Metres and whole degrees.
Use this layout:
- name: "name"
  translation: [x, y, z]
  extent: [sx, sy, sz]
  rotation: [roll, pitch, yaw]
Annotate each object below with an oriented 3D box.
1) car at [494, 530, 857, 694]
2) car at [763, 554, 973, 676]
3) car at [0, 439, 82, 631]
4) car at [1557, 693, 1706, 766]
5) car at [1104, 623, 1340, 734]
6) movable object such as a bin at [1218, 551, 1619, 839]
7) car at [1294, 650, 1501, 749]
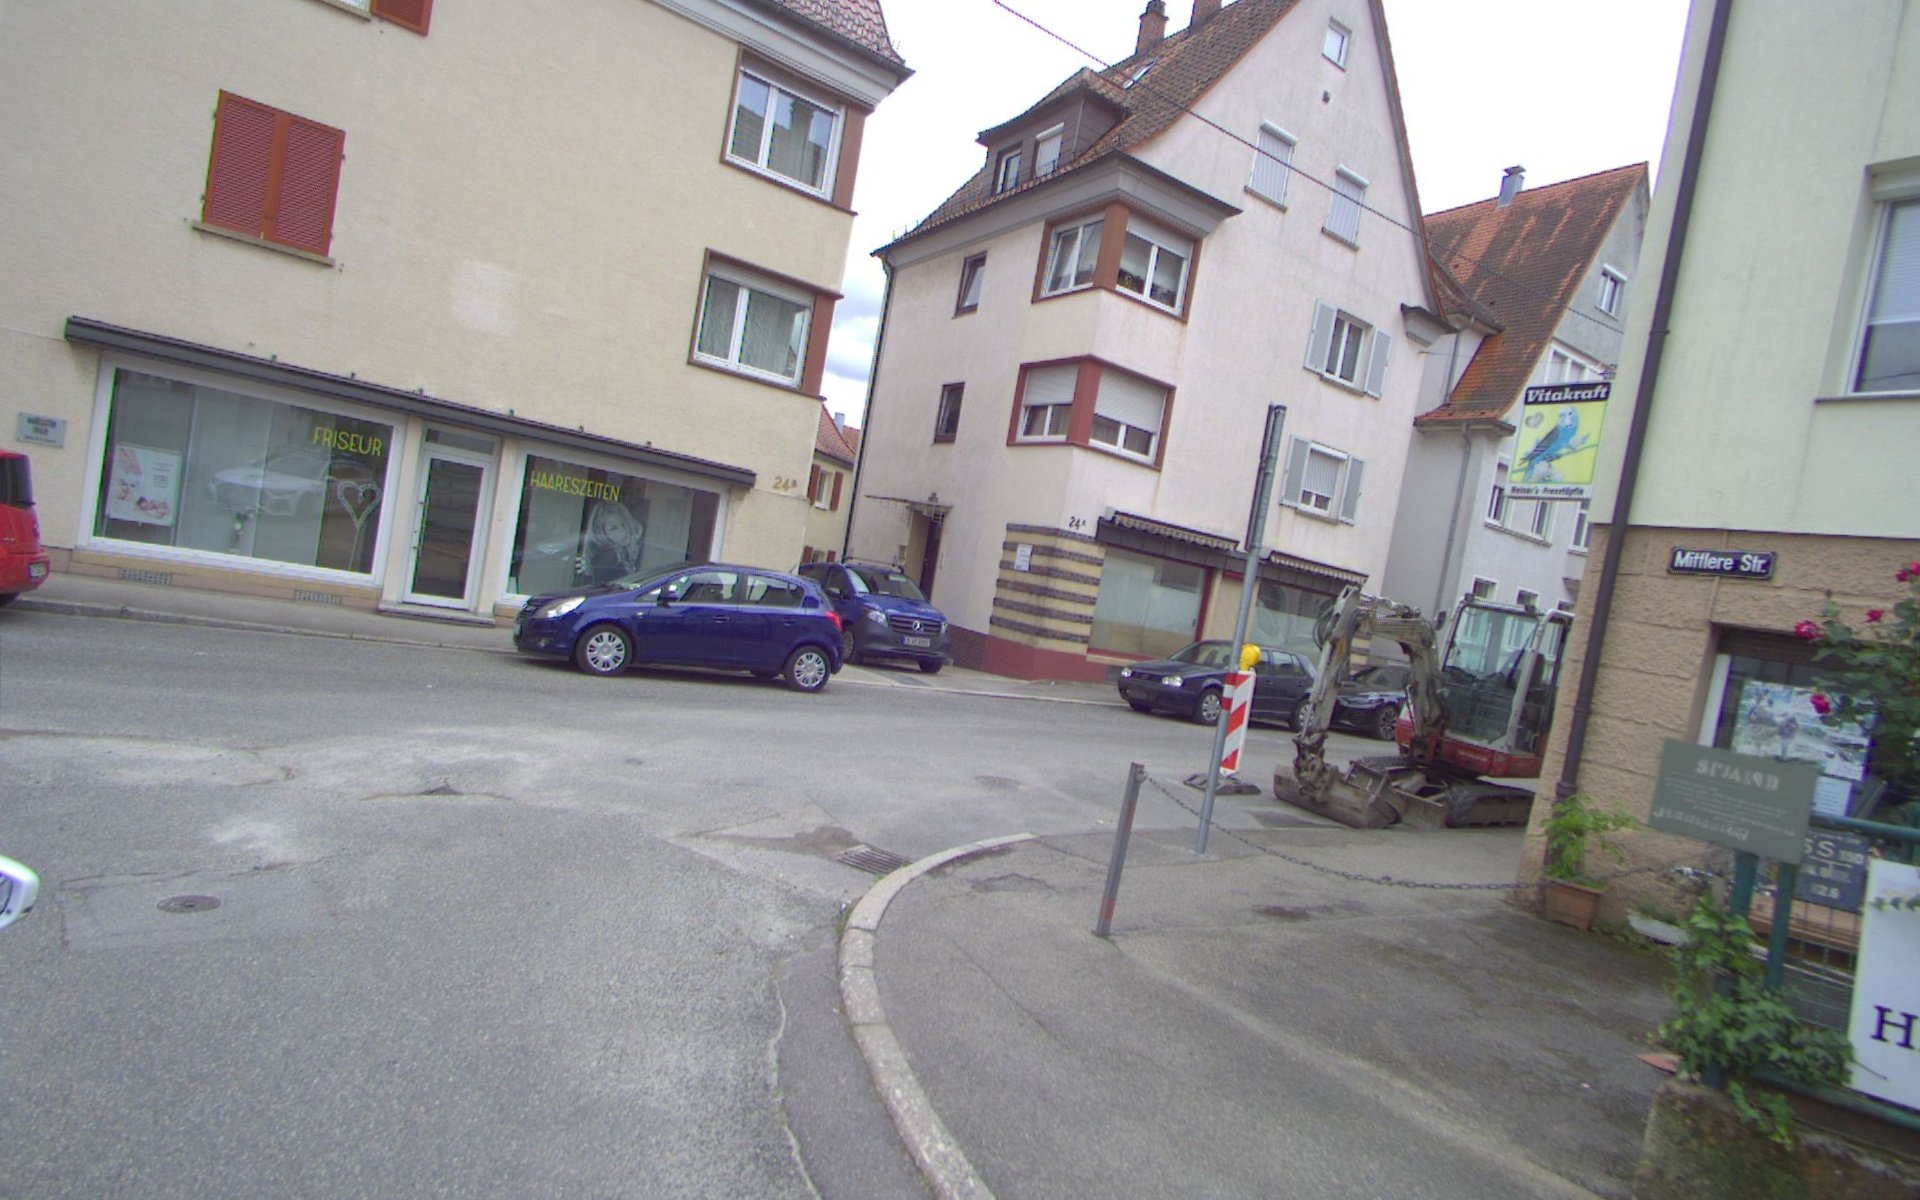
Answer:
- name: "car"
  translation: [-3.441, 0.191, 12.383]
  extent: [3.881, 1.467, 1.683]
  rotation: [8, -1, -32]
- name: "car"
  translation: [-1.929, 0.190, 19.332]
  extent: [1.933, 1.888, 4.864]
  rotation: [7, -1, -31]
- name: "car"
  translation: [-9.805, -0.795, 8.171]
  extent: [3.657, 1.575, 1.683]
  rotation: [8, 0, -31]
- name: "car"
  translation: [17.298, 3.343, 25.896]
  extent: [3.762, 1.406, 1.683]
  rotation: [8, -1, -32]
- name: "car"
  translation: [4.621, 1.391, 17.559]
  extent: [3.965, 1.420, 1.681]
  rotation: [8, 0, -35]
- name: "movable object such as a bin"
  translation: [5.204, 1.110, 11.156]
  extent: [4.632, 2.533, 1.556]
  rotation: [8, 4, -35]
- name: "car"
  translation: [8.781, 2.006, 20.110]
  extent: [4.062, 1.467, 1.683]
  rotation: [8, -1, -32]
